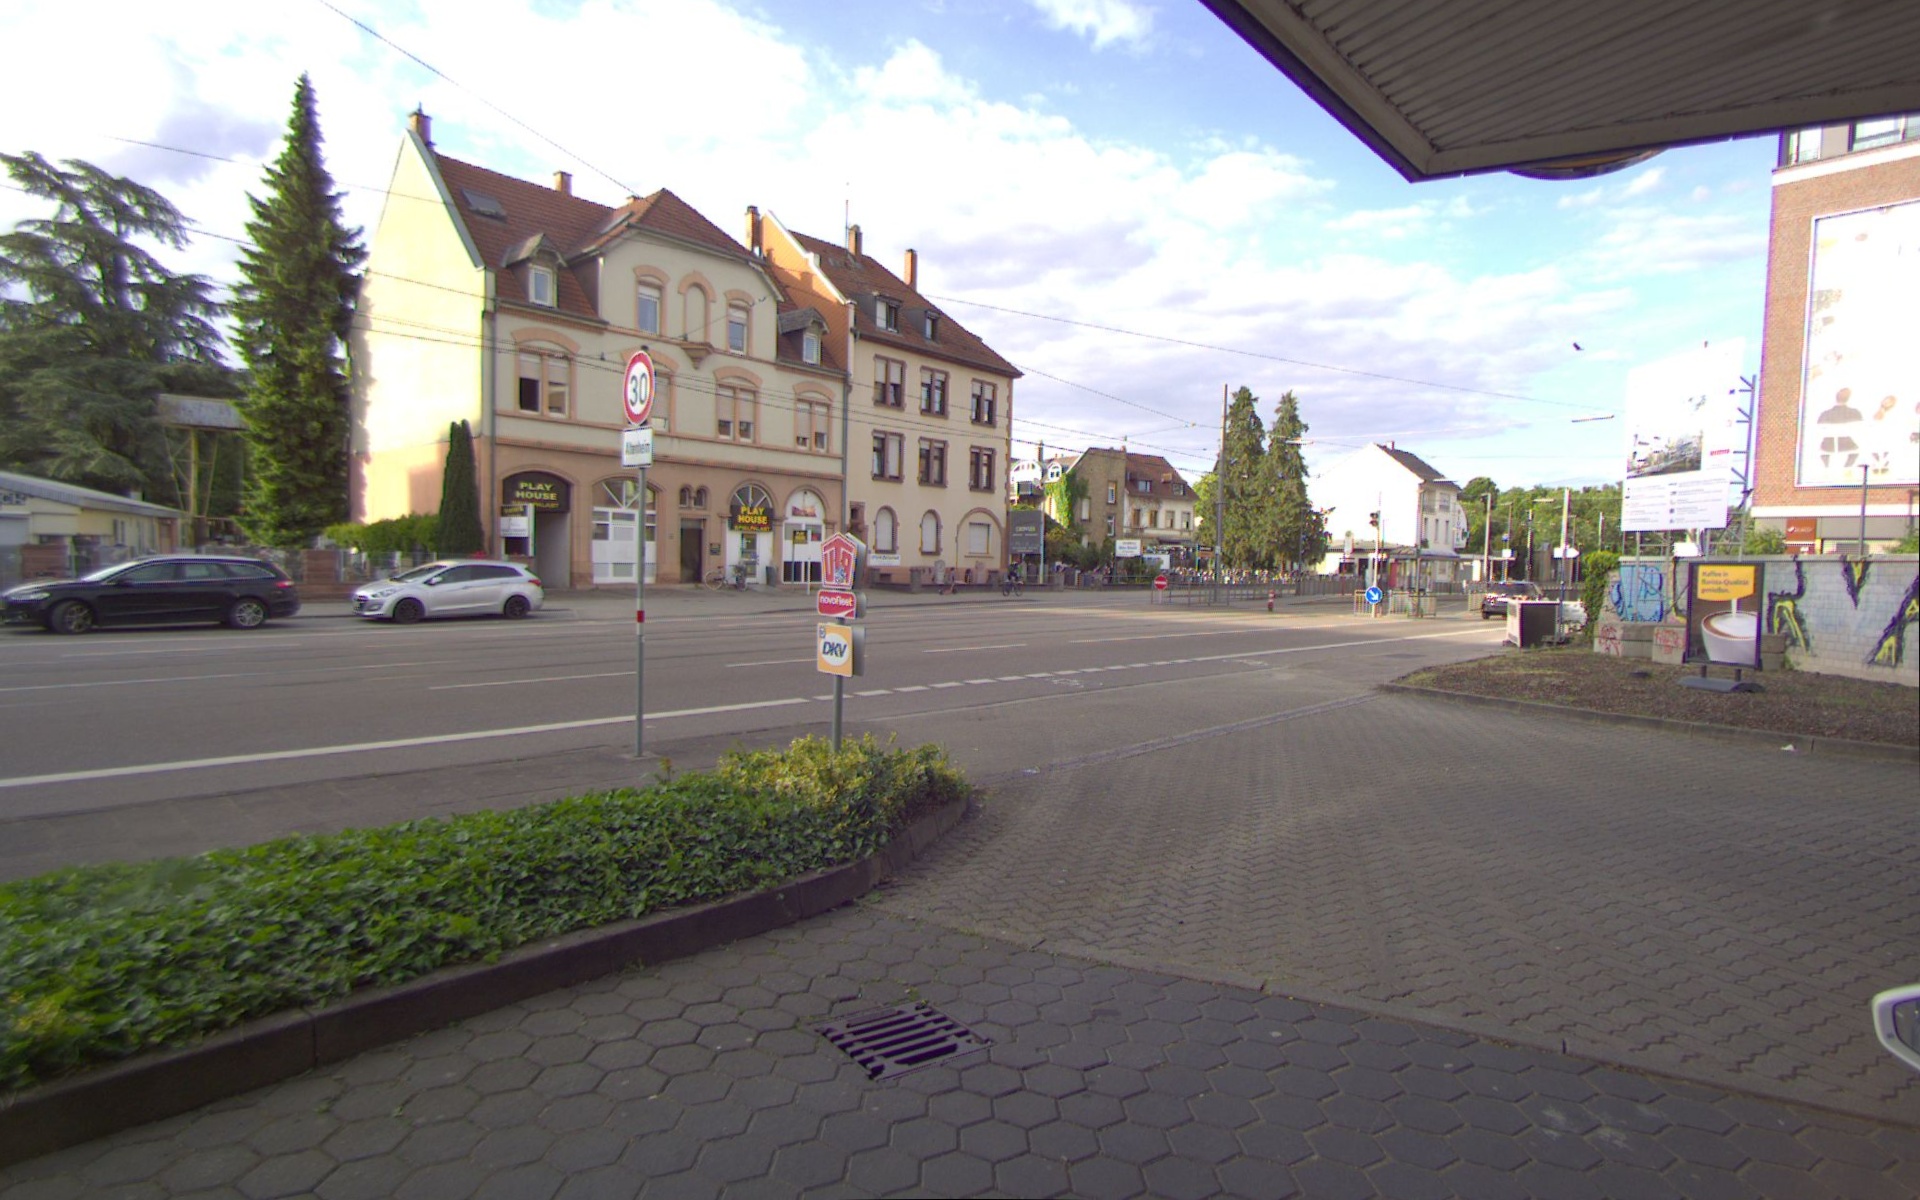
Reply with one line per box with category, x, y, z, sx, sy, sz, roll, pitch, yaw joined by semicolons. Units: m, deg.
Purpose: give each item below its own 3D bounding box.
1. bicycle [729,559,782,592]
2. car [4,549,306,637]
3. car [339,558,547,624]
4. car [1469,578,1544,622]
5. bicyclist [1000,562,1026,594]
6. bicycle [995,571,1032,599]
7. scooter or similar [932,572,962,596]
bicycle;-8.256;-0.995;40.614;0.741;1.219;2.011;8;5;41
car;-16.495;-0.169;20.804;1.827;1.542;4.642;5;4;40
car;-12.937;-0.246;25.343;1.718;1.502;4.357;3;2;41
car;21.519;-0.024;39.502;1.649;1.568;3.687;5;4;43
bicyclist;2.515;-1.061;47.314;0.740;1.428;0.917;7;6;38
bicycle;2.537;-0.723;47.381;0.740;1.219;1.813;7;6;38
scooter or similar;-0.575;-0.709;45.080;0.437;1.006;1.460;6;5;41
